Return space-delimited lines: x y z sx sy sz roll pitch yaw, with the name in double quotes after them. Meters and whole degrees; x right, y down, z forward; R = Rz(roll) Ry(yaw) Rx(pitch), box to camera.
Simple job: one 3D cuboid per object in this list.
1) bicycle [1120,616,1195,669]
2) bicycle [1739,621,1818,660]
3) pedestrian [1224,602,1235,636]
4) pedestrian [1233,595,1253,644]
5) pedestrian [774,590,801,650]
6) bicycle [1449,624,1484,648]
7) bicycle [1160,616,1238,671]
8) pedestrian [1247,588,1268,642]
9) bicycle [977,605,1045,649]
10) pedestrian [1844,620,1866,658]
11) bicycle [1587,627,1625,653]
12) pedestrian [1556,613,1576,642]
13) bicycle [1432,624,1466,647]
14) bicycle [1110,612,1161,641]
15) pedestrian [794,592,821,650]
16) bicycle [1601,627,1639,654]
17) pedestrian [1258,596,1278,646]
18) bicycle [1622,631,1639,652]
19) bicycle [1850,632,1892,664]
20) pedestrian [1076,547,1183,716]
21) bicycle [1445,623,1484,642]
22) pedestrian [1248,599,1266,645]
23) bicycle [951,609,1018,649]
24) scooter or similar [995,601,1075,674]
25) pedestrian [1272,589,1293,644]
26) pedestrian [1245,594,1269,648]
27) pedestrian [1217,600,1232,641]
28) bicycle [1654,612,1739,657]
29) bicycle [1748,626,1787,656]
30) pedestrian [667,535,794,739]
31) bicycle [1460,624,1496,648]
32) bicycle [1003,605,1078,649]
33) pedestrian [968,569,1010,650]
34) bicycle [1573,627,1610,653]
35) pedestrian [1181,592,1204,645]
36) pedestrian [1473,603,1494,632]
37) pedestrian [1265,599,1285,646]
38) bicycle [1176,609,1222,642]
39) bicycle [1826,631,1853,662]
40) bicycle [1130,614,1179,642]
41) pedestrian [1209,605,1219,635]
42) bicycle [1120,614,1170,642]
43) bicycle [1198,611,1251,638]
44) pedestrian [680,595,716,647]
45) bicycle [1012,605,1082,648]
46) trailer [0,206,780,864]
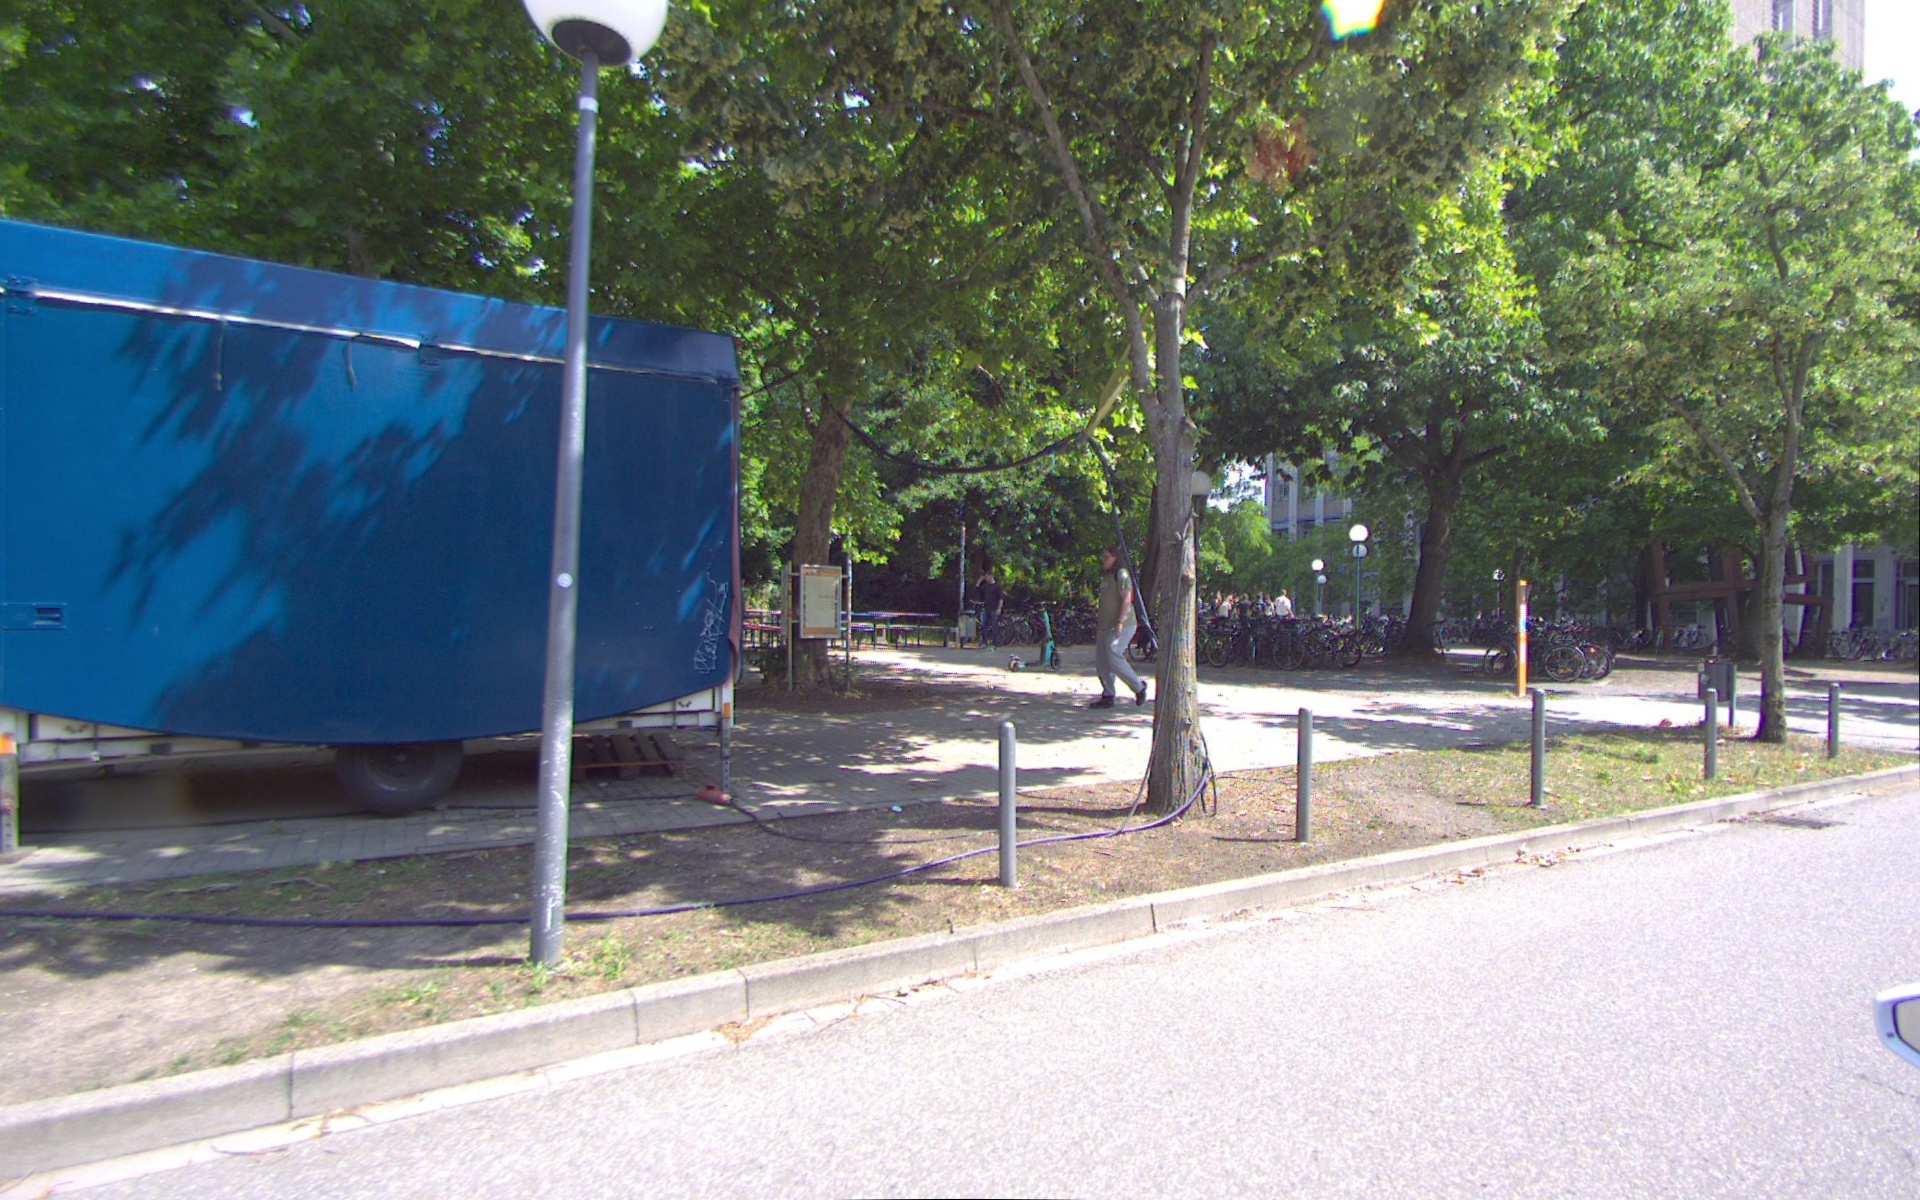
4.146 0.875 21.210 0.531 1.028 1.795 1 1 -28 "bicycle"
27.400 1.341 33.667 1.984 1.270 0.587 0 -1 27 "bicycle"
14.139 0.983 52.666 0.405 1.736 0.544 2 1 29 "pedestrian"
9.885 0.683 35.063 0.545 1.693 0.703 2 1 24 "pedestrian"
-4.493 0.509 26.173 0.470 1.543 0.501 1 1 -41 "pedestrian"
24.781 1.762 49.130 1.950 1.101 0.549 1 1 -31 "bicycle"
4.966 0.885 20.993 0.531 1.028 1.795 1 1 -28 "bicycle"
11.074 0.554 37.340 0.610 1.960 0.681 2 1 24 "pedestrian"
1.343 0.707 26.877 0.593 1.106 1.933 2 0 -43 "bicycle"
39.948 1.737 44.852 0.624 1.683 0.692 1 0 35 "pedestrian"
28.179 1.752 43.817 1.950 1.101 0.549 1 1 -31 "bicycle"
32.594 1.465 54.054 0.714 1.561 0.696 1 0 -40 "pedestrian"
24.340 1.768 49.984 1.950 1.101 0.549 1 1 -31 "bicycle"
6.033 0.911 34.557 1.741 0.906 0.417 2 1 40 "bicycle"
-3.848 0.528 25.405 0.457 1.441 0.501 1 1 -41 "pedestrian"
28.390 1.742 43.175 1.950 1.101 0.549 1 1 -31 "bicycle"
10.669 0.715 34.820 0.545 1.693 0.693 2 1 24 "pedestrian"
26.800 1.645 40.165 0.317 0.773 1.559 2 0 26 "bicycle"
32.627 1.712 35.967 1.950 1.101 0.549 1 1 -31 "bicycle"
2.065 0.367 12.317 0.879 1.981 0.916 2 2 -21 "pedestrian"
23.696 1.526 47.137 2.627 0.882 0.544 1 0 -38 "bicycle"
13.303 0.967 44.944 0.511 2.040 0.532 1 1 -16 "pedestrian"
0.615 0.731 25.874 0.543 0.955 1.860 2 0 -43 "bicycle"
1.350 0.663 18.021 1.227 1.263 0.695 1 1 -31 "scooter or similar"
11.852 0.605 36.903 0.635 1.960 0.696 2 1 24 "pedestrian"
9.621 0.678 32.544 0.620 1.693 0.730 2 1 24 "pedestrian"
10.581 0.828 40.240 0.453 1.636 0.351 1 1 -4 "pedestrian"
25.408 1.186 34.704 2.248 1.469 0.606 1 0 27 "bicycle"
29.336 1.475 36.476 1.828 1.046 0.473 1 0 -31 "bicycle"
-2.230 0.341 9.733 0.975 1.855 0.795 1 1 -30 "pedestrian"
25.018 1.753 48.490 1.950 1.101 0.549 1 1 -31 "bicycle"
2.217 0.728 27.581 1.920 1.106 0.597 2 0 21 "bicycle"
0.685 0.212 23.648 0.796 1.873 0.527 1 1 -31 "pedestrian"
27.941 1.760 44.435 1.950 1.101 0.549 1 1 -31 "bicycle"
7.620 0.606 32.912 0.567 1.693 0.630 2 1 24 "pedestrian"
29.531 0.971 56.654 0.590 1.614 0.824 1 0 -29 "pedestrian"
14.032 1.005 44.759 0.583 2.040 0.532 1 1 -16 "pedestrian"
9.365 0.996 39.438 1.771 1.223 0.422 2 1 43 "bicycle"
29.017 1.528 33.127 1.644 0.978 0.471 1 0 -42 "bicycle"
7.001 1.000 36.293 1.741 0.906 0.417 2 1 40 "bicycle"
13.305 1.021 52.622 0.402 1.547 0.486 2 1 29 "pedestrian"
6.500 0.966 35.416 1.741 0.906 0.417 2 1 40 "bicycle"
10.865 0.989 41.323 2.028 1.049 0.504 2 1 36 "bicycle"
-6.285 0.502 24.091 0.724 1.210 0.387 1 1 -40 "pedestrian"
2.459 0.744 28.537 1.927 1.106 0.595 2 0 37 "bicycle"
-4.551 -0.307 6.218 6.195 3.067 2.682 1 1 -31 "trailer"
